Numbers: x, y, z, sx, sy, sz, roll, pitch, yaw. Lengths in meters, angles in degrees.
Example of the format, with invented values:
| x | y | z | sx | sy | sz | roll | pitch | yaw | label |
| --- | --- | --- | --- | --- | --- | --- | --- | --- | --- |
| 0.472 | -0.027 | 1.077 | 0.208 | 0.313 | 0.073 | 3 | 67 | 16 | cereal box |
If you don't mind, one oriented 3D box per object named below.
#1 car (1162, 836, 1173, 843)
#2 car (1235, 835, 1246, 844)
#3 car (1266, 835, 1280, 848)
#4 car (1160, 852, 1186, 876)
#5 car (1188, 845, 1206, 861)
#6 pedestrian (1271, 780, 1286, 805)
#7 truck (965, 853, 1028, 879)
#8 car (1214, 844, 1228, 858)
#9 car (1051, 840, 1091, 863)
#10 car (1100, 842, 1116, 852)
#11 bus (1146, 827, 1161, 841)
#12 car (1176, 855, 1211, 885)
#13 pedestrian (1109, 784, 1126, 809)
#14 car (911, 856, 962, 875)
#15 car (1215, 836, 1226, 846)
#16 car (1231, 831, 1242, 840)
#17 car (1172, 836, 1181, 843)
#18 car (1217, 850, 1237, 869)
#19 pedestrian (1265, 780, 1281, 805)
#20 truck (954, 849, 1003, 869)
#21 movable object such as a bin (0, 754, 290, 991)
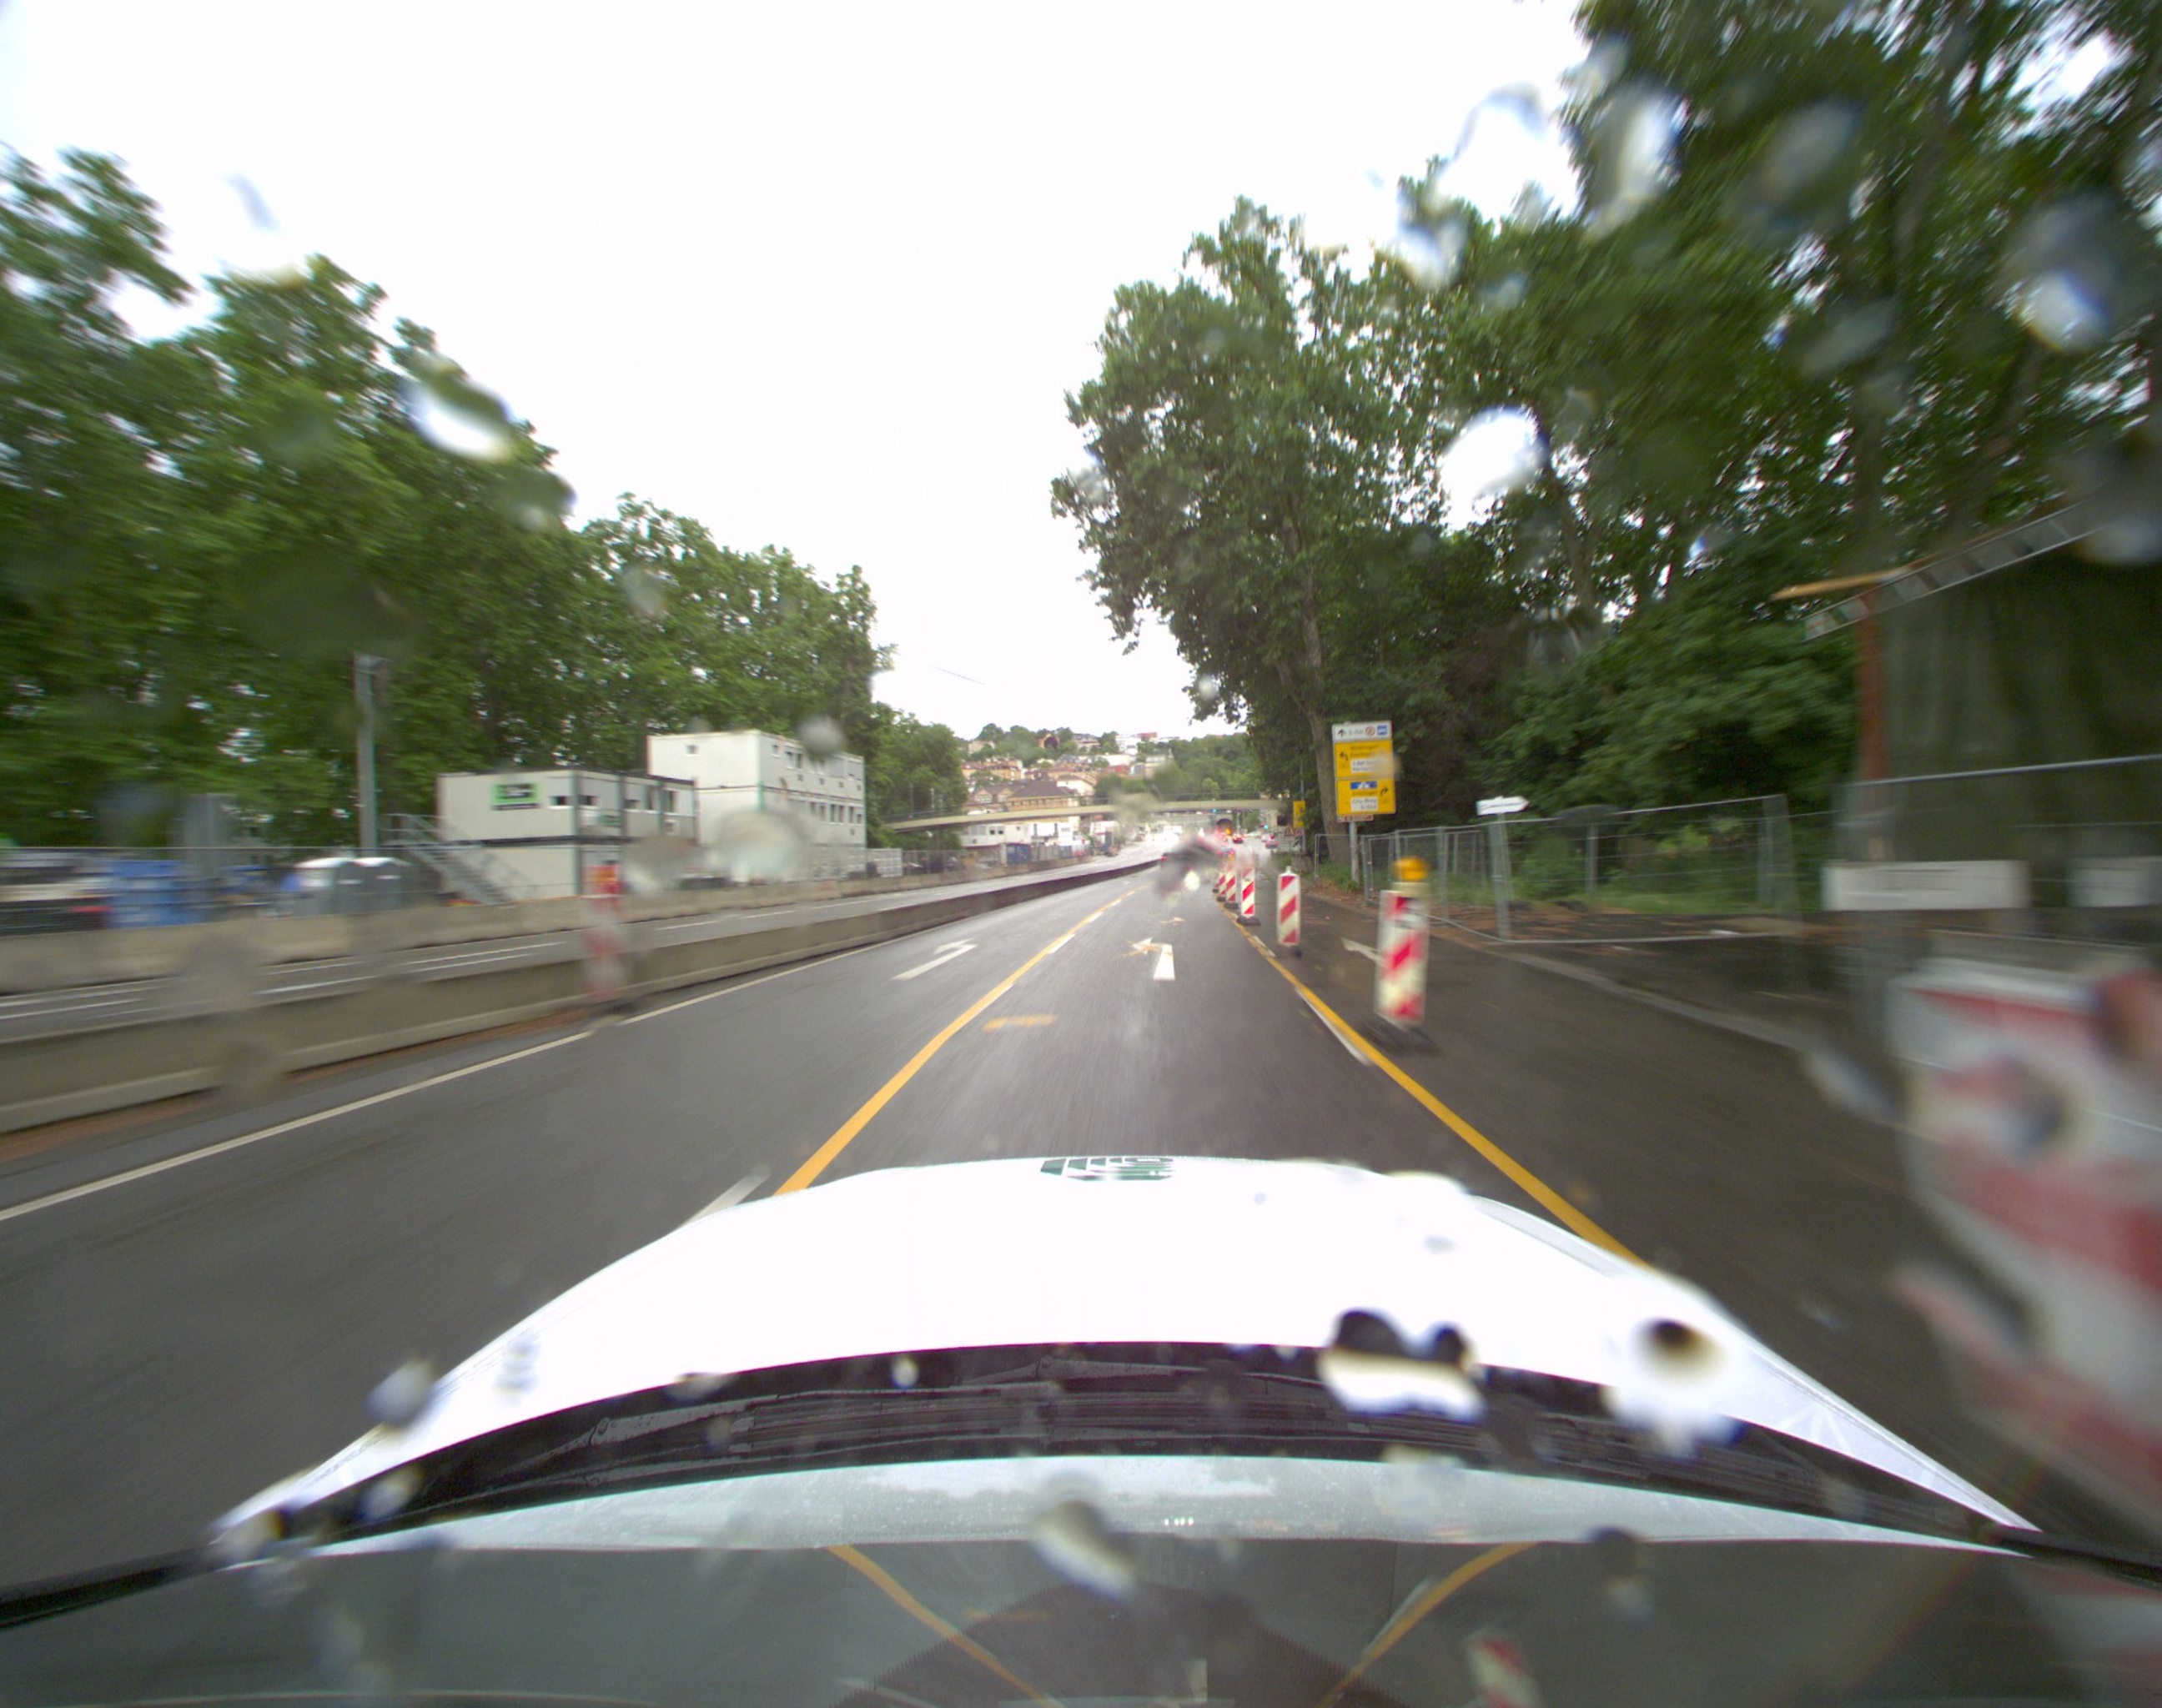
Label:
| x | y | z | sx | sy | sz | roll | pitch | yaw | label |
| --- | --- | --- | --- | --- | --- | --- | --- | --- | --- |
| 19.617 | -3.291 | 185.143 | 2.069 | 1.630 | 4.865 | -3 | 1 | 9 | car |
| 31.689 | -2.918 | 161.746 | 1.982 | 1.698 | 4.009 | -3 | -1 | 8 | car |
| 32.039 | -2.109 | 136.014 | 1.981 | 2.013 | 4.011 | -2 | 1 | 9 | car |
| 8.133 | 0.860 | 71.711 | 2.004 | 2.014 | 4.011 | -3 | -1 | 10 | car |
| 15.568 | -0.130 | 108.961 | 1.980 | 2.014 | 4.014 | -3 | -1 | 12 | car |
| 17.606 | -5.472 | 72.612 | 1.138 | 2.060 | 1.064 | -3 | -1 | 18 | pedestrian |
| -8.993 | 1.257 | 86.964 | 6.251 | 2.452 | 2.696 | -3 | -1 | 2 | truck |
| 22.117 | -0.418 | 128.382 | 2.039 | 2.014 | 4.010 | -3 | -1 | 9 | car |
| -1.342 | -0.381 | 109.313 | 1.974 | 2.875 | 6.091 | -3 | -1 | 37 | car |
| 4.655 | -1.188 | 140.251 | 1.979 | 1.621 | 4.016 | -2 | 2 | 14 | car |
| 17.697 | -4.836 | 197.304 | 2.789 | 3.184 | 8.832 | -3 | 0 | 10 | bus |
| 6.386 | 0.853 | 46.200 | 1.802 | 1.527 | 4.010 | -3 | 0 | 8 | car |
| 3.260 | -5.152 | 72.693 | 1.138 | 2.060 | 1.064 | -3 | -1 | 18 | pedestrian |
| -13.772 | 1.106 | 77.758 | 4.407 | 1.627 | 1.960 | -3 | 0 | 1 | car |
| 27.182 | -2.475 | 158.736 | 1.982 | 1.869 | 4.009 | -3 | -1 | 8 | car |
| 32.136 | -3.772 | 168.129 | 1.982 | 1.698 | 4.009 | -3 | -1 | 8 | car |
| 23.742 | -3.547 | 202.501 | 1.698 | 1.489 | 3.461 | -3 | -1 | 11 | car |
| 16.710 | 0.593 | 93.268 | 2.092 | 2.050 | 4.011 | -3 | -1 | 10 | car |
| 16.907 | -5.433 | 71.740 | 1.138 | 2.060 | 1.064 | -3 | -1 | 18 | pedestrian |
| -12.001 | 0.549 | 95.520 | 5.221 | 2.013 | 2.167 | -3 | 0 | 5 | truck |
| -24.135 | 0.482 | 17.889 | 4.723 | 4.803 | 8.379 | -3 | -1 | 8 | movable object such as a bin |
